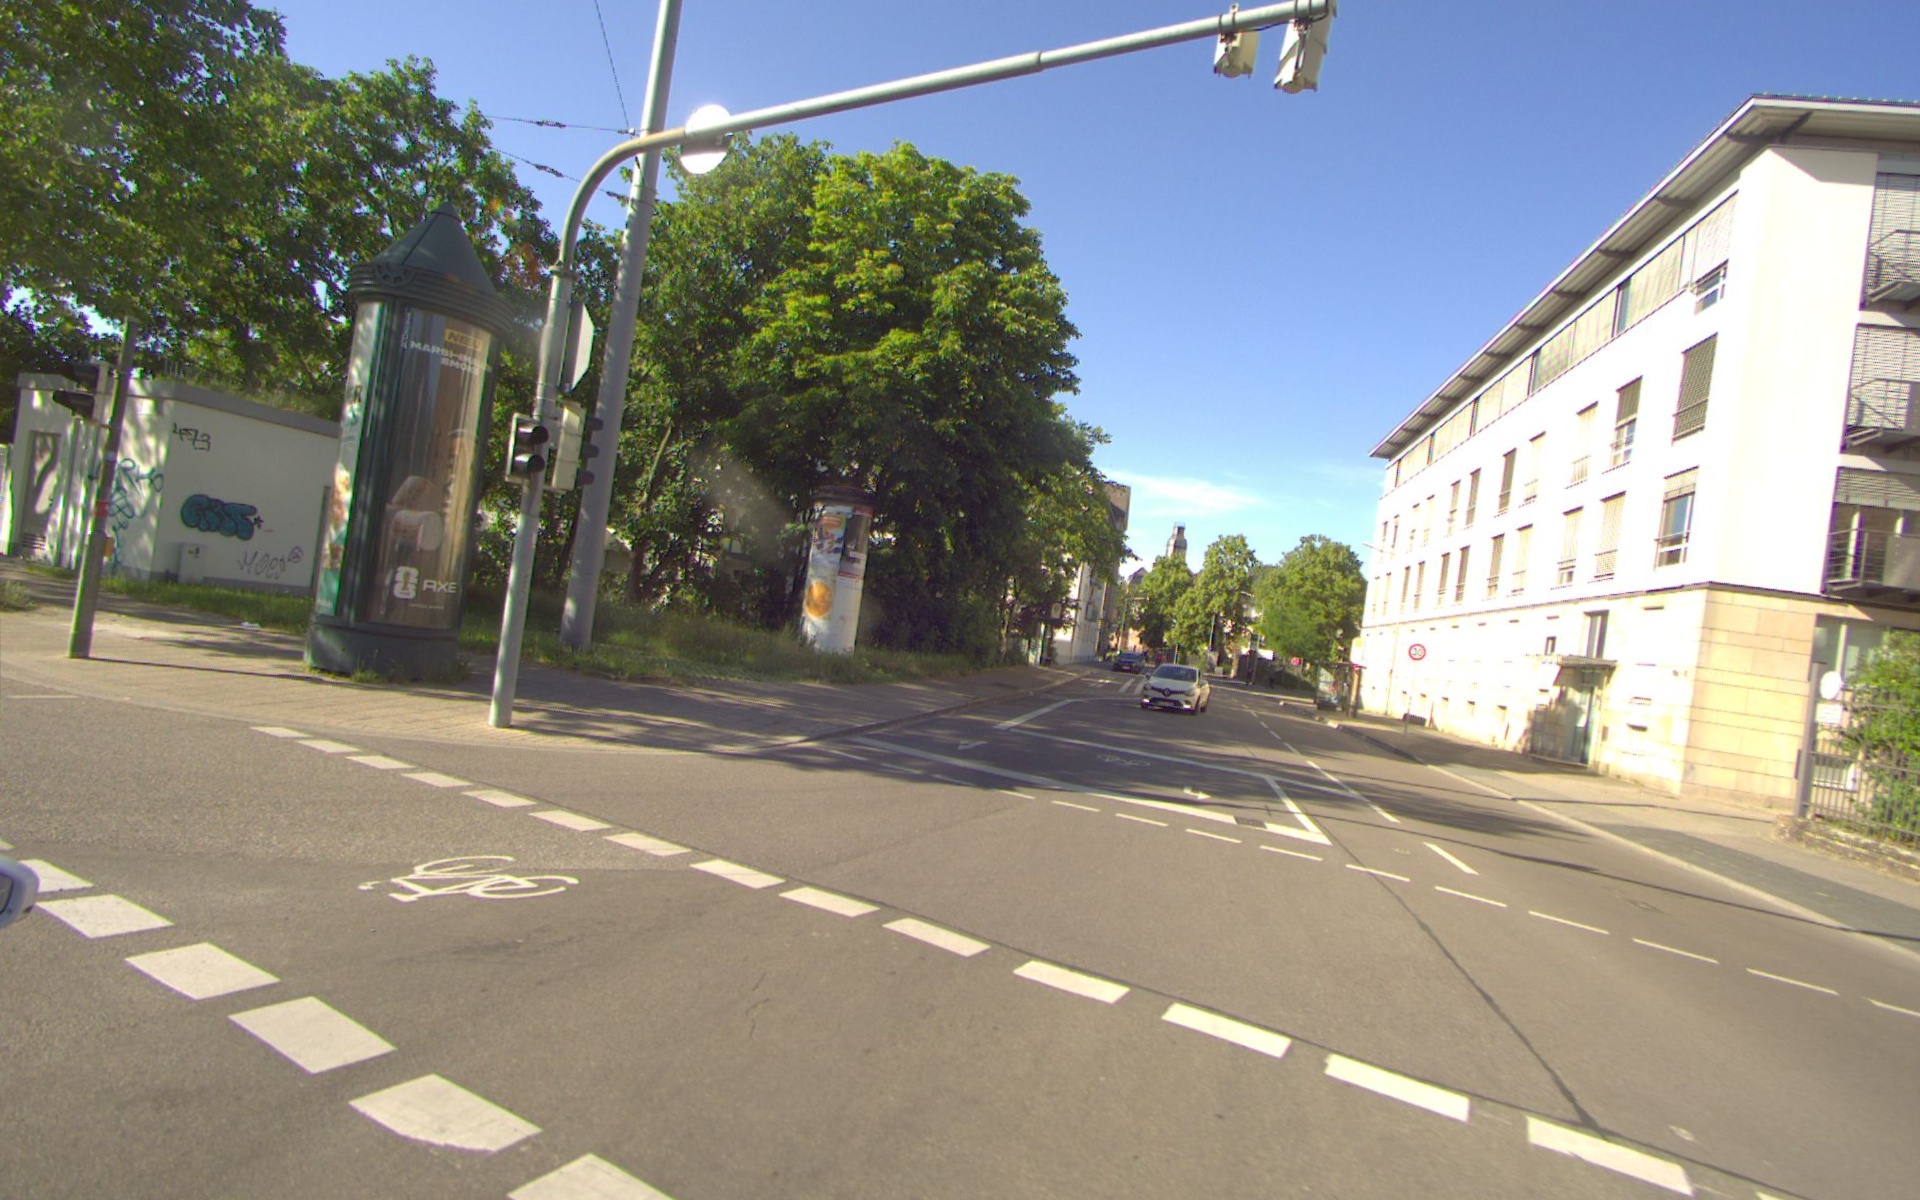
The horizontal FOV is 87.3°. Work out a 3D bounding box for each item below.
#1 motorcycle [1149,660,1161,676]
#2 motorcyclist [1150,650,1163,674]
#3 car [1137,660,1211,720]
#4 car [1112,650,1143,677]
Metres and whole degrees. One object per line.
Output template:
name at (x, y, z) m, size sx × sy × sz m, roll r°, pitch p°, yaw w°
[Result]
motorcycle at (14.081, 4.921, 72.578) m, size 0.692 × 1.039 × 1.534 m, roll 8°, pitch -1°, yaw 10°
motorcyclist at (14.138, 4.445, 72.559) m, size 0.699 × 1.634 × 0.799 m, roll 8°, pitch 0°, yaw 10°
car at (6.793, 2.801, 31.664) m, size 1.766 × 1.485 × 4.004 m, roll 8°, pitch -2°, yaw 17°
car at (11.723, 4.416, 70.309) m, size 1.766 × 1.547 × 4.005 m, roll 8°, pitch -2°, yaw 12°
